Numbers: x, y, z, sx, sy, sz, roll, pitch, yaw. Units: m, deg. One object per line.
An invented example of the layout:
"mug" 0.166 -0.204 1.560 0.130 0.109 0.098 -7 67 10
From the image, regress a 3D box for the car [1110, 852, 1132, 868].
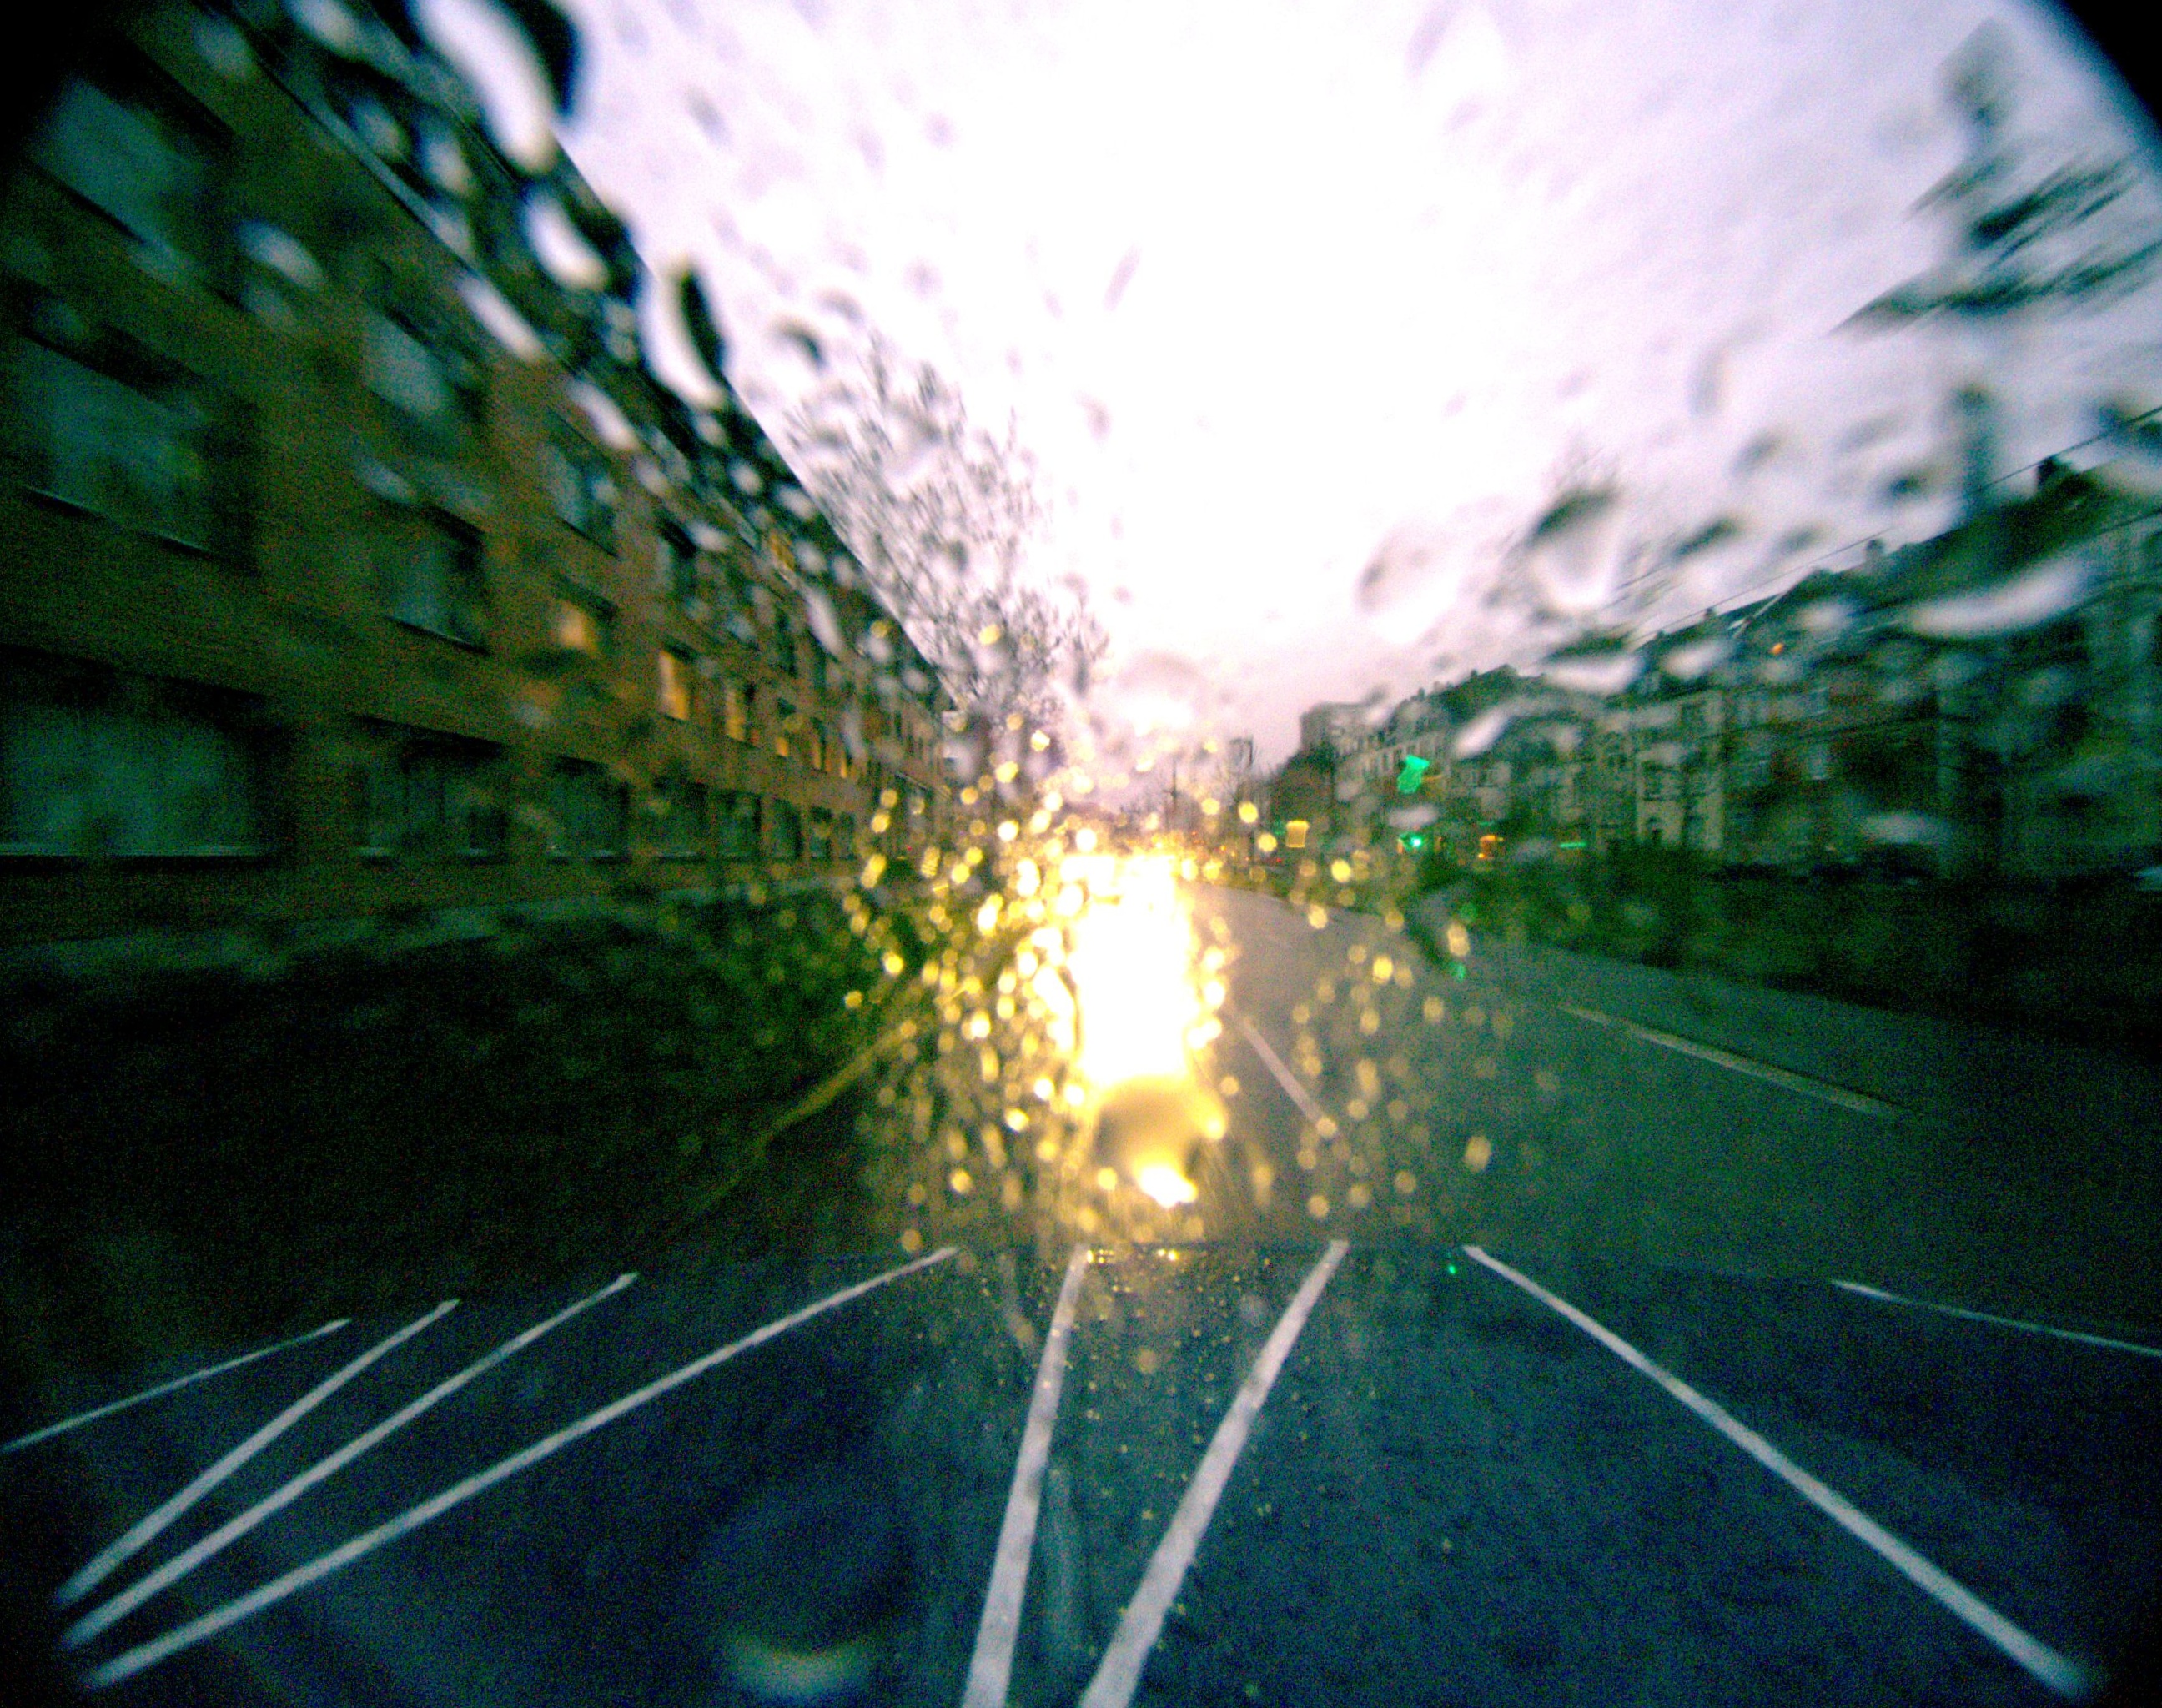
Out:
"car" 4.343 0.663 82.970 1.999 1.745 3.999 0 0 -1

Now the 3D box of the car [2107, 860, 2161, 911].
"car" 30.640 0.855 19.925 3.988 1.324 2.004 0 0 34

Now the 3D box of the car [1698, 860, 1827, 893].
"car" 29.759 0.929 33.342 3.988 1.324 2.004 0 0 35

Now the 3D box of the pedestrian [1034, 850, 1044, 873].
"pedestrian" -3.380 0.608 61.181 0.506 1.814 0.656 0 1 -27

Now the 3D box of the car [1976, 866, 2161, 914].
"car" 30.847 1.074 23.310 3.988 1.324 2.004 0 0 35

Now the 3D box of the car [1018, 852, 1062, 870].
"car" -3.762 0.635 70.183 3.997 1.546 1.742 1 1 0

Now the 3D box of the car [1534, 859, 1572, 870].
"car" 46.740 1.020 75.305 2.897 1.069 1.331 1 0 -1

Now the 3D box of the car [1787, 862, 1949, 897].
"car" 29.459 0.930 28.649 3.988 1.162 2.004 0 0 37

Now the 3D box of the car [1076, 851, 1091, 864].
"car" 0.347 0.475 105.180 1.999 1.693 4.000 0 0 -1

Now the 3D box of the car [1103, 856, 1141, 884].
"car" 2.182 0.821 41.589 1.814 1.384 4.053 -1 0 -1

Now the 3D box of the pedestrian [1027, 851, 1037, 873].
"pedestrian" -3.769 0.603 58.903 0.506 1.732 0.656 0 1 -33

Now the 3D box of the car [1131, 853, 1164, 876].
"car" 4.428 0.682 51.232 1.814 1.487 4.053 -1 0 -1
